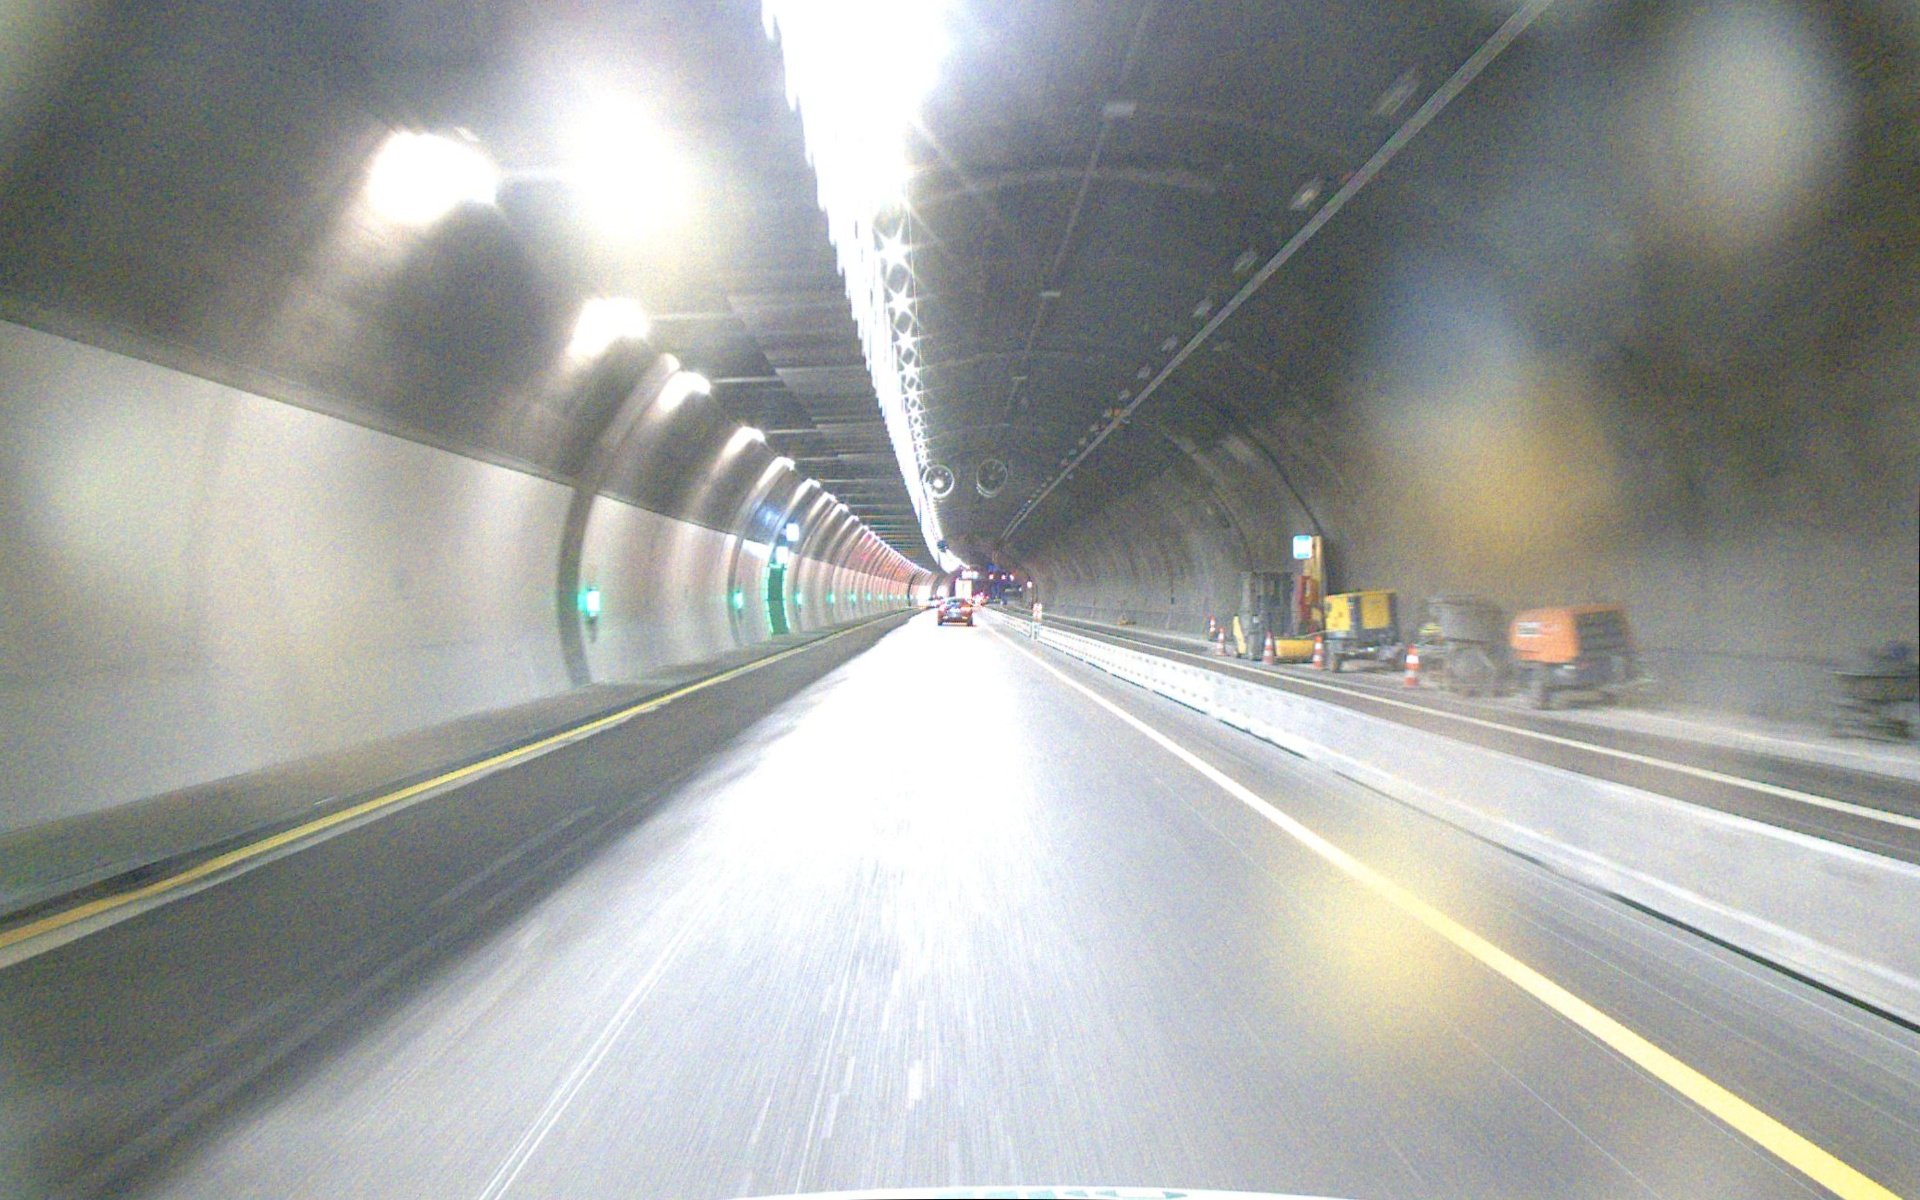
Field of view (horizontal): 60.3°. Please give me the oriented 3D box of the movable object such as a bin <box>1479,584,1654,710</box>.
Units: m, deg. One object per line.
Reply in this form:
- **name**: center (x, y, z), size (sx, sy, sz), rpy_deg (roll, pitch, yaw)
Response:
- **movable object such as a bin**: center (8.689, 0.622, 23.899), size (1.277, 1.621, 3.054), rpy_deg (-3, 1, -1)

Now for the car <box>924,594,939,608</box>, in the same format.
- **car**: center (-3.417, 0.096, 198.690), size (1.790, 1.635, 3.999), rpy_deg (1, 0, -1)

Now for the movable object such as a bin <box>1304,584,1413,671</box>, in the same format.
- **movable object such as a bin**: center (8.377, 0.560, 34.994), size (1.524, 1.739, 3.054), rpy_deg (1, 0, -1)

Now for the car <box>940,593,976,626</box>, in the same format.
- **car**: center (-0.133, 0.490, 86.725), size (1.849, 1.635, 3.999), rpy_deg (1, 0, -1)

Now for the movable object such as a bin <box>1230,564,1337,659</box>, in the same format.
- **movable object such as a bin**: center (7.837, 0.281, 40.441), size (1.649, 2.183, 4.626), rpy_deg (1, 0, -1)

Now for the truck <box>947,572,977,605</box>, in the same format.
- **truck**: center (0.311, -1.709, 261.451), size (4.451, 5.074, 9.600), rpy_deg (0, 0, 2)

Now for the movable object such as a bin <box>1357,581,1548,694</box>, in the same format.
- **movable object such as a bin**: center (8.440, 0.578, 28.762), size (1.823, 1.704, 4.501), rpy_deg (-3, 1, -1)
